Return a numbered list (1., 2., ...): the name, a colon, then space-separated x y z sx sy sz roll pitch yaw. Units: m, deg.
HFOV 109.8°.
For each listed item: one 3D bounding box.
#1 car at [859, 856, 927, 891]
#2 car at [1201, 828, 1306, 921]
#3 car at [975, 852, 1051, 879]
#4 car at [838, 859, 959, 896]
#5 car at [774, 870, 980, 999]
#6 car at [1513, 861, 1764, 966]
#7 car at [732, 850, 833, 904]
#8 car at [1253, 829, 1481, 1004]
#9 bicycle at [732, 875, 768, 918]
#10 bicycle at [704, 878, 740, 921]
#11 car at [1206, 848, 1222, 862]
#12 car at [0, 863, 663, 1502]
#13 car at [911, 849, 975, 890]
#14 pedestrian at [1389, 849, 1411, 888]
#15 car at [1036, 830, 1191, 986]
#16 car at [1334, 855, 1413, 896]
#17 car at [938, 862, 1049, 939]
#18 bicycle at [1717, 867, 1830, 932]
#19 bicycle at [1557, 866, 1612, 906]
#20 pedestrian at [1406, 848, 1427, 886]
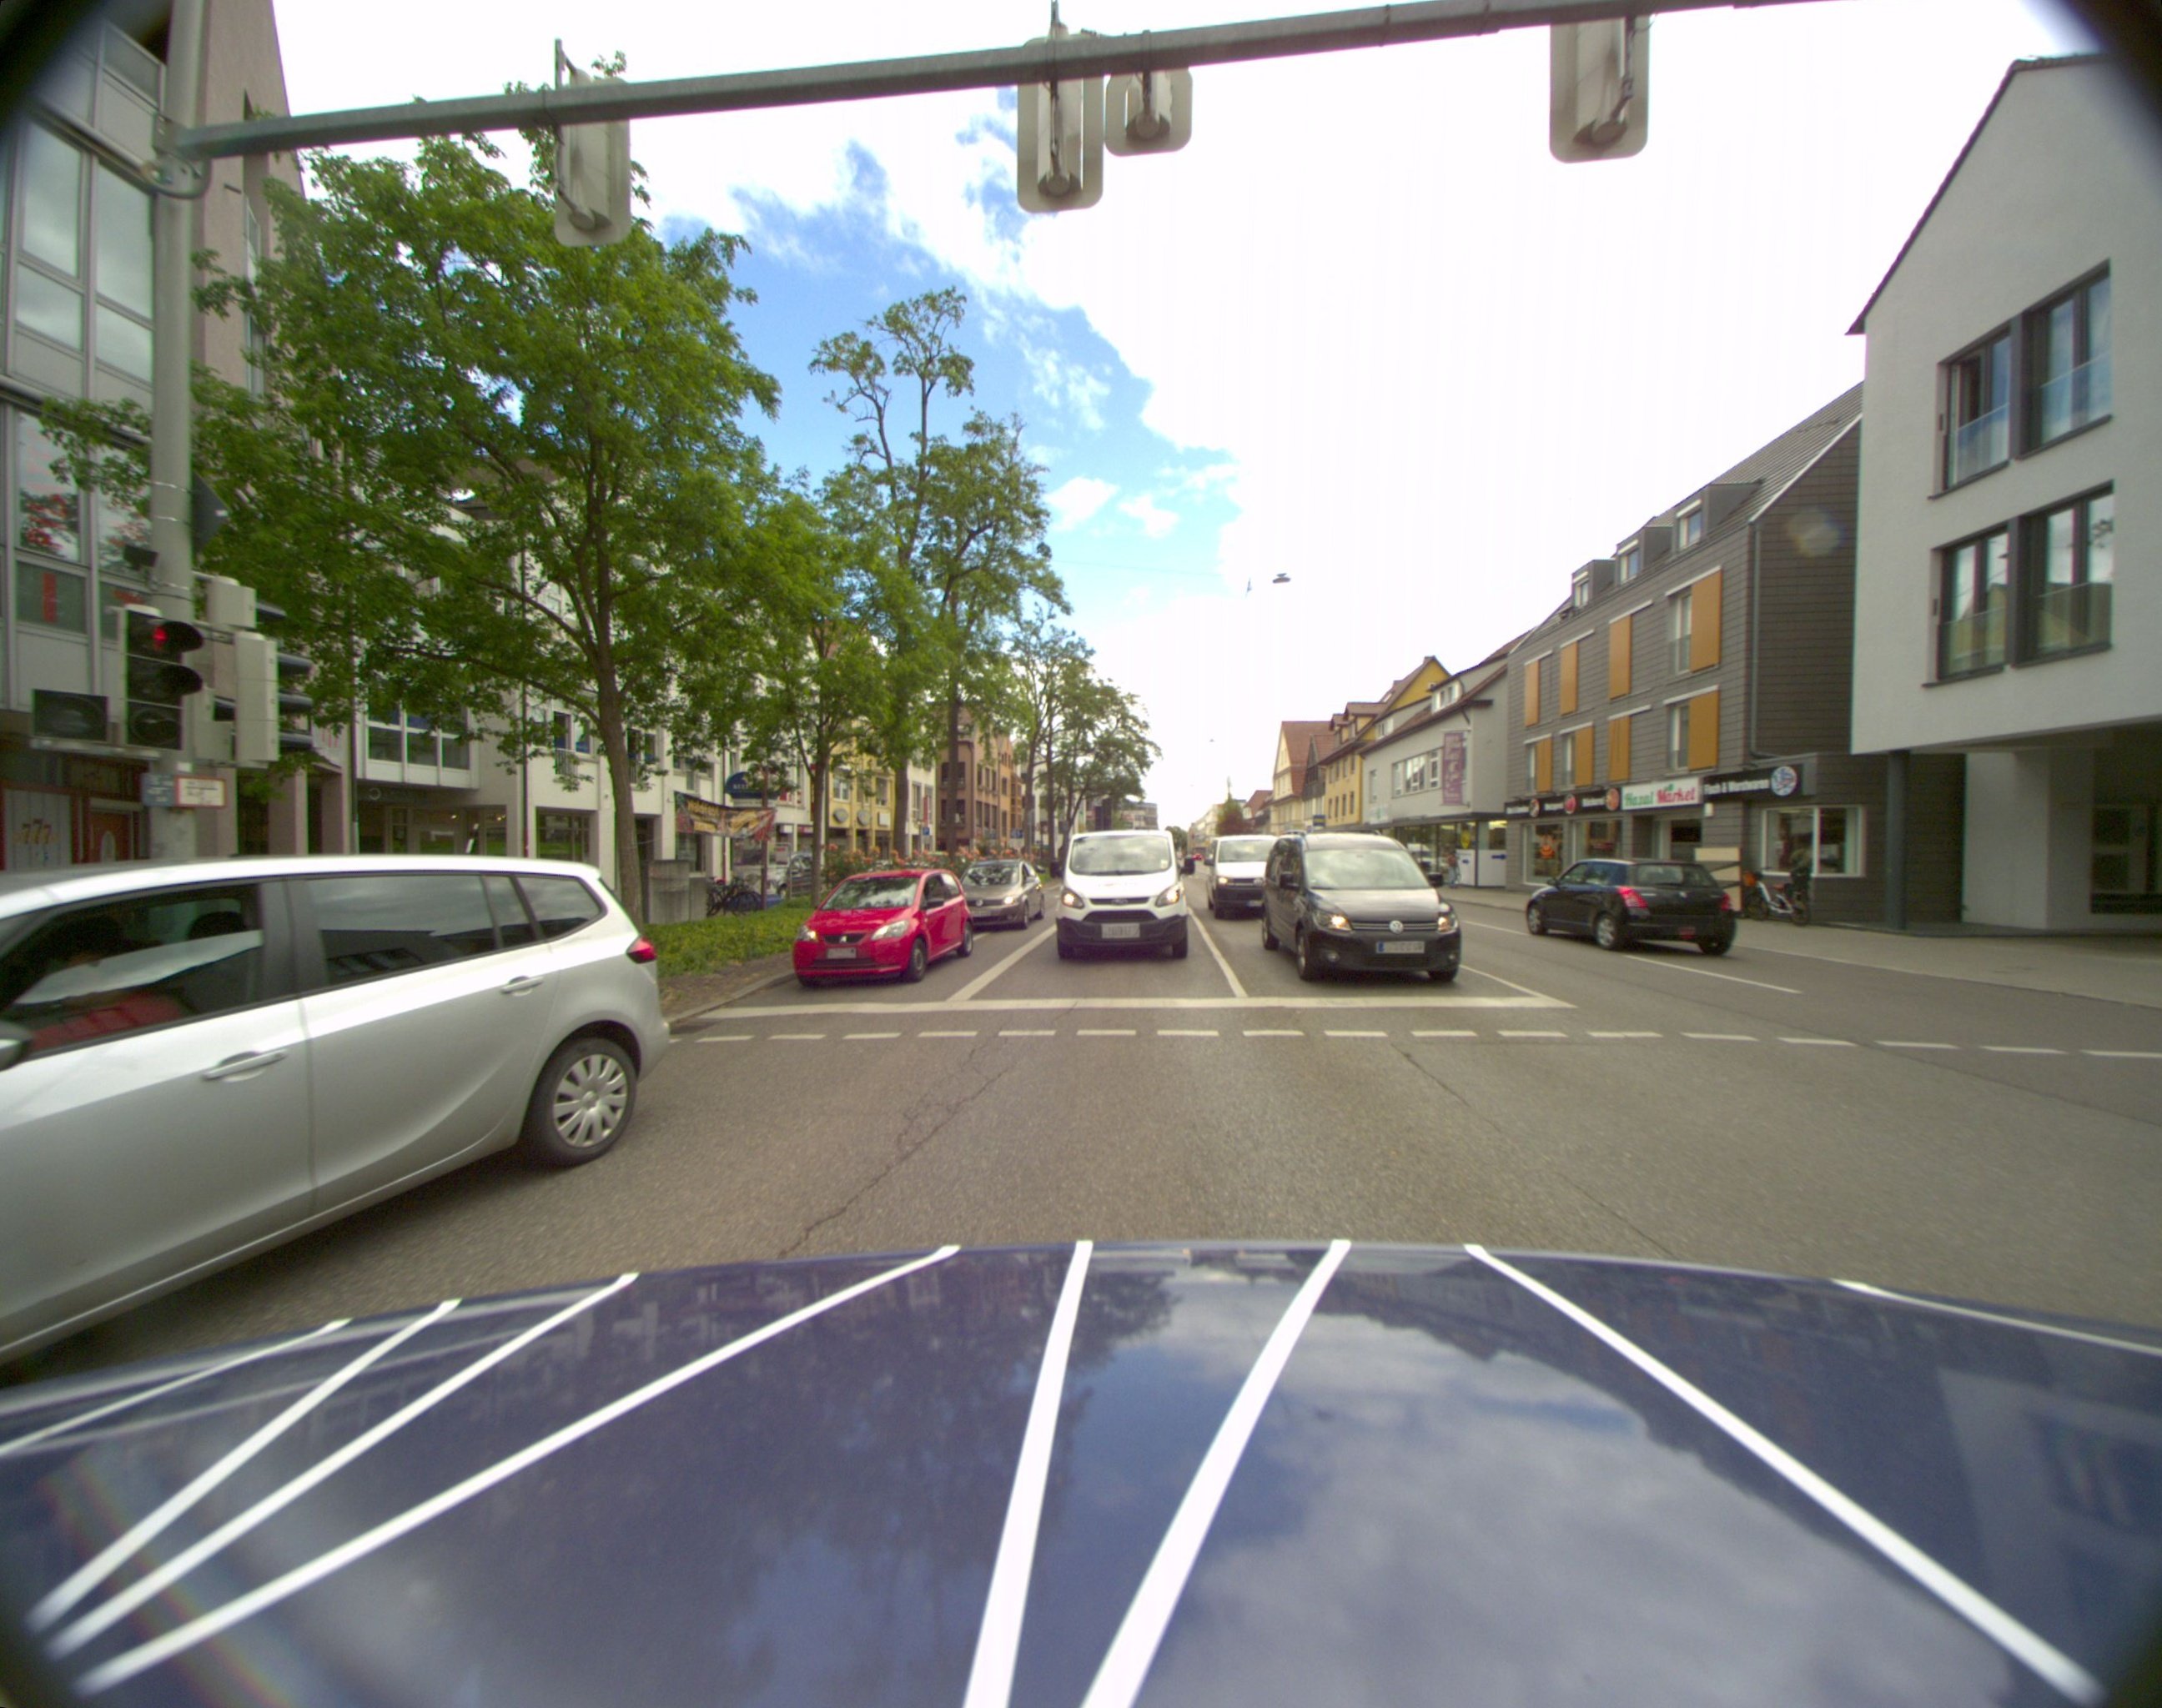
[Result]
1. car: -9.396 0.918 38.418 1.998 1.539 4.754 1 1 3
2. car: 4.168 0.449 19.129 1.997 2.002 4.842 -2 0 6
3. car: -4.356 0.723 49.167 4.751 1.669 2.000 1 0 -2
4. car: -7.639 0.958 32.009 4.647 1.445 1.740 1 1 6
5. car: -2.745 1.037 11.095 1.630 1.440 3.643 -2 0 6
6. car: 9.157 0.872 12.937 1.747 1.450 3.819 1 0 6
7. car: -10.638 0.753 27.433 1.738 1.793 4.262 1 1 4
8. car: 3.538 0.658 10.332 1.711 1.810 4.573 -2 0 5
9. bicycle: -8.804 1.108 20.179 0.407 1.042 1.565 -1 1 -42
10. bicycle: -9.477 1.168 20.034 0.407 1.042 1.565 -1 1 -42
11. car: 19.466 0.139 111.001 1.927 1.957 4.771 1 1 6
12. car: -3.773 0.947 2.480 1.742 1.691 4.384 -2 0 11
13. car: -6.831 0.708 38.112 1.998 1.865 4.754 1 1 4
14. pedestrian: 15.153 0.669 36.116 0.708 1.828 1.028 0 1 8
15. car: 0.725 0.690 12.700 1.939 1.968 5.782 -2 0 6
16. car: 11.314 0.796 29.676 1.872 1.477 4.002 0 0 6
17. car: -1.932 1.009 17.977 1.801 1.521 4.001 -2 0 4
18. bicycle: 14.495 0.913 15.989 0.583 1.225 2.120 0 0 5
19. bicycle: 14.980 0.927 22.675 0.573 1.094 1.903 -1 0 7
20. pedestrian: 15.903 0.601 36.013 0.708 1.771 0.870 0 1 8
